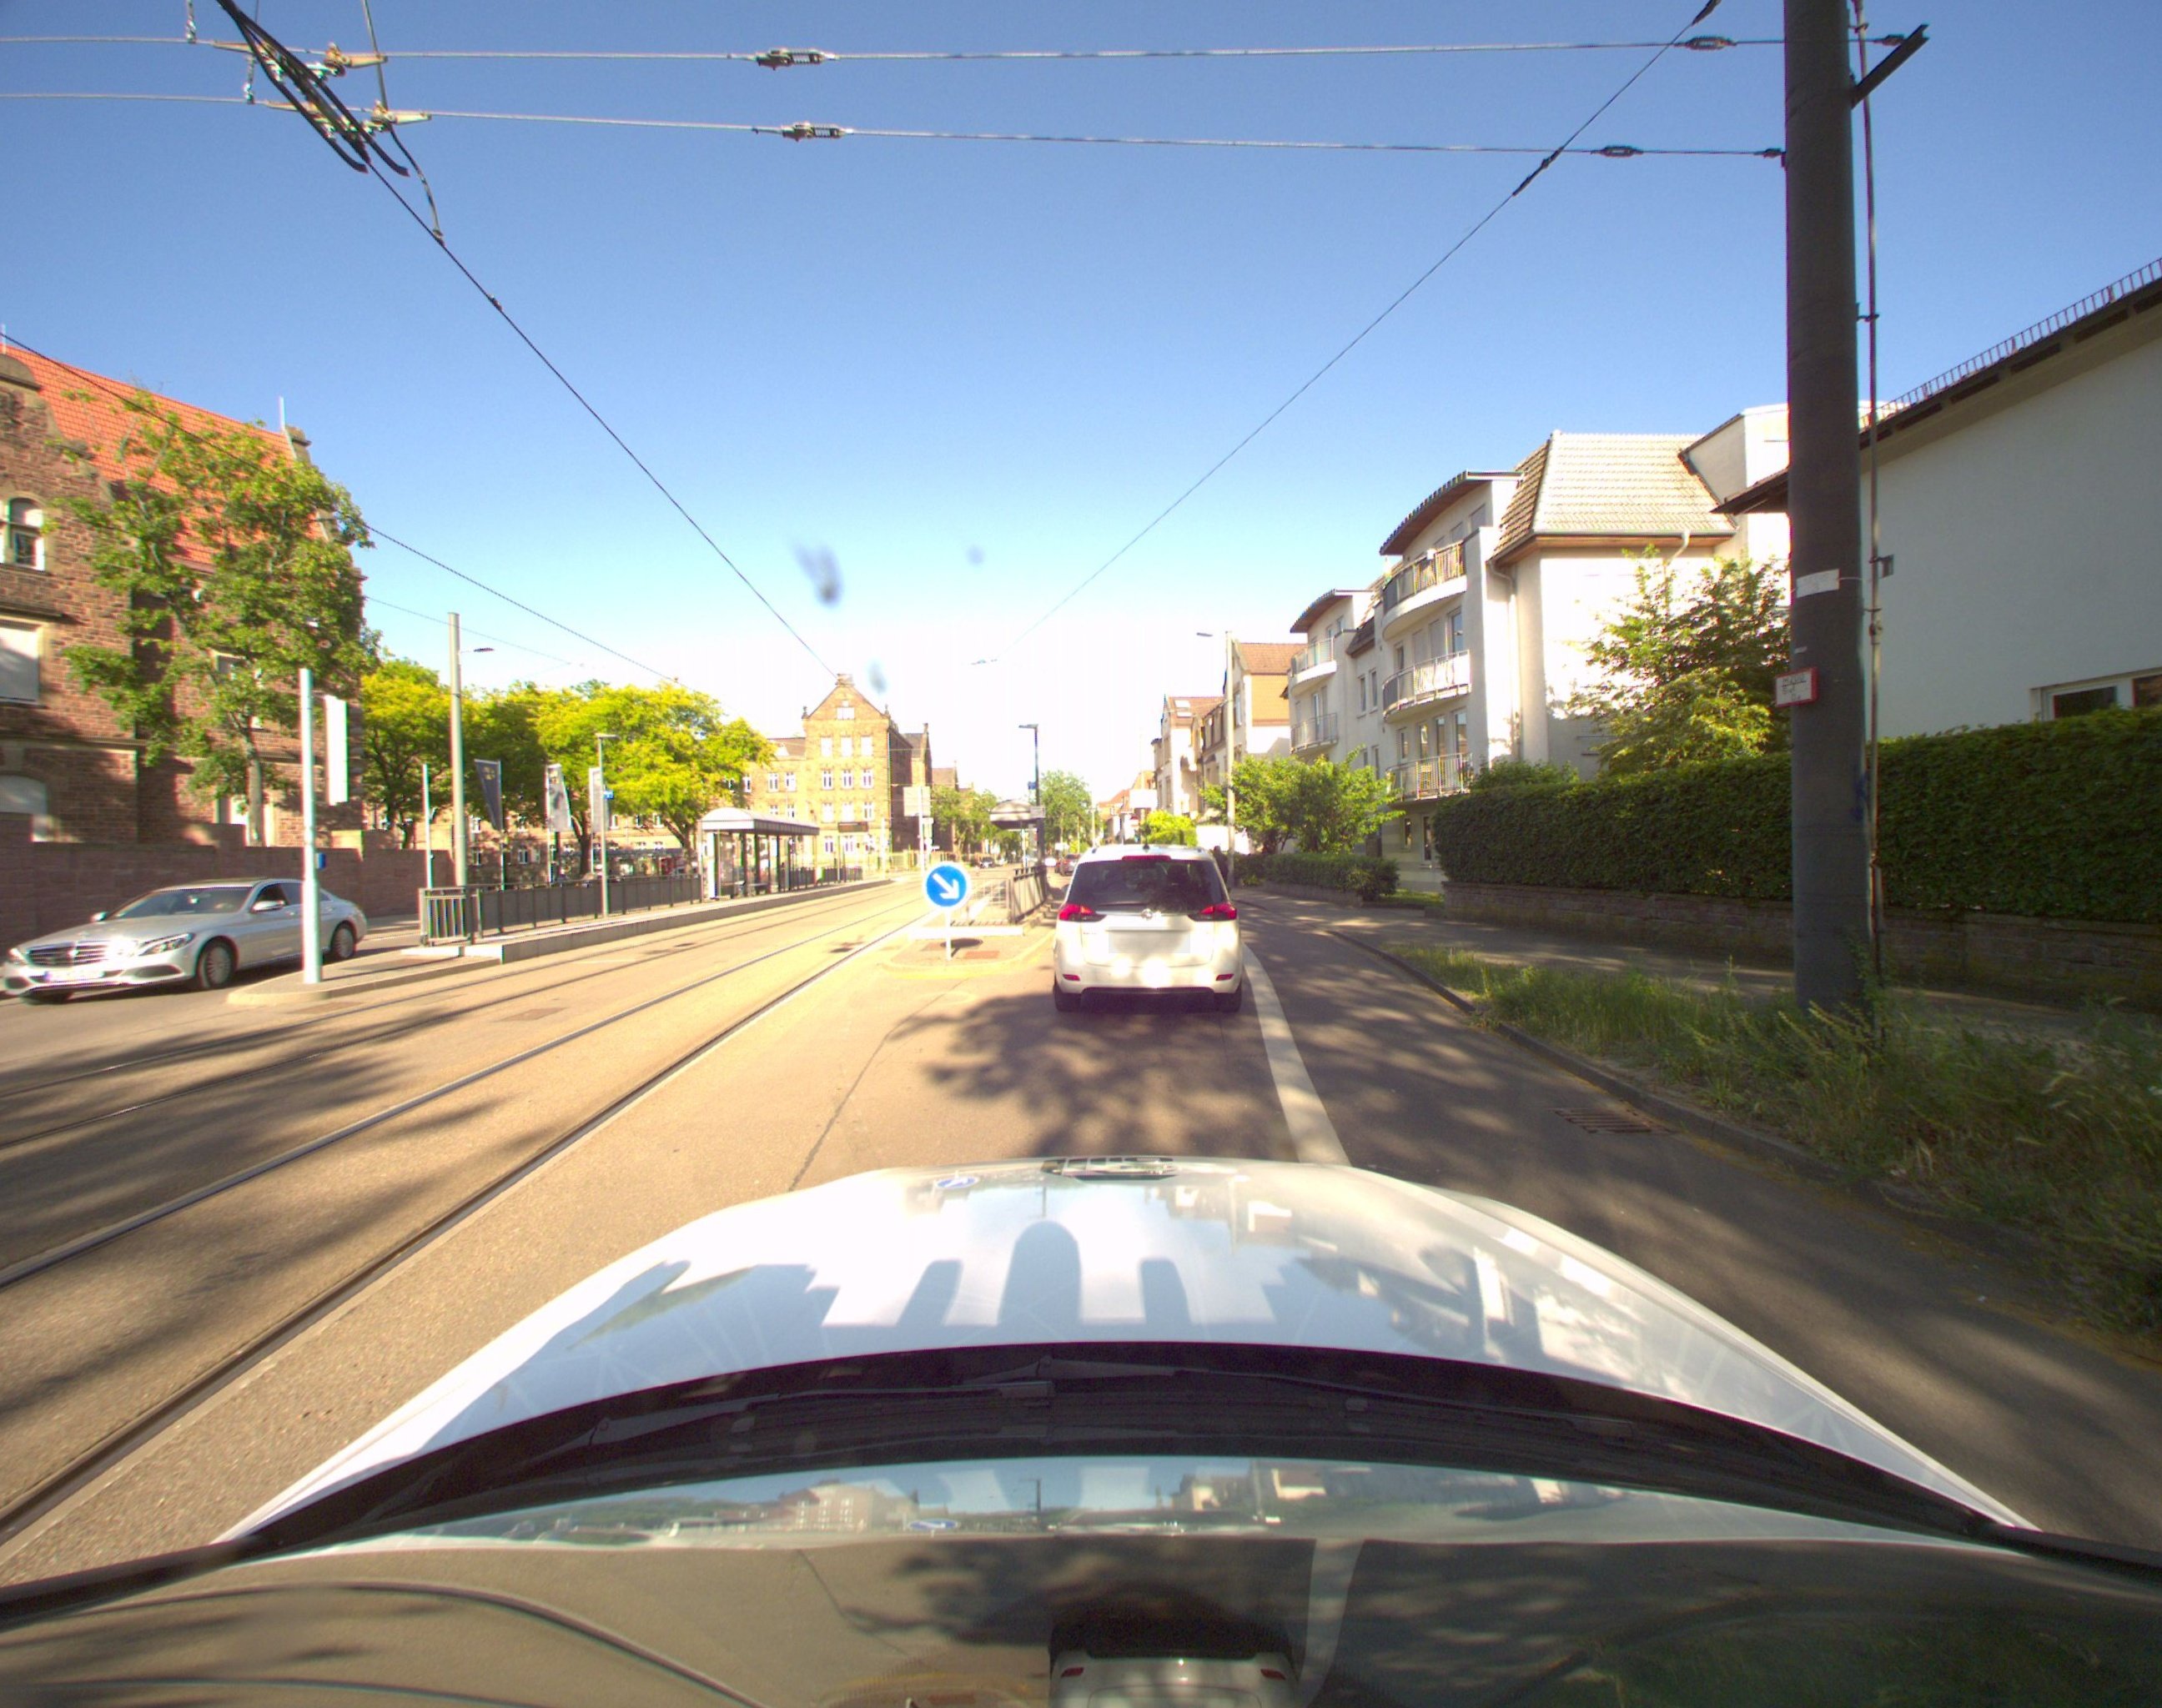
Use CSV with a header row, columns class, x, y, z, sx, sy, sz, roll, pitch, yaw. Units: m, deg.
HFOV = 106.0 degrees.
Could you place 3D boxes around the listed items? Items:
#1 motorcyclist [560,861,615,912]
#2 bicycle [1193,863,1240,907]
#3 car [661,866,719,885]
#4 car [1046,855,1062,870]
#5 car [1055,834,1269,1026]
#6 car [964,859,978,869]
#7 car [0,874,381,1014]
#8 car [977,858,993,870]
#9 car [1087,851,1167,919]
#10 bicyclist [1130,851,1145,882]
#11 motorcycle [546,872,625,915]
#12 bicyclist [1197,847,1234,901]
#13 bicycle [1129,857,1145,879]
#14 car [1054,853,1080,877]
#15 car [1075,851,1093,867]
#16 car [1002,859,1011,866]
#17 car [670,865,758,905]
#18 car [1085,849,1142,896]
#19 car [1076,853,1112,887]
class,x,y,z,sx,sy,sz,roll,pitch,yaw
motorcyclist,-15.487,1.008,25.586,1.123,1.525,1.053,-1,-1,-7
bicycle,3.813,0.853,23.090,0.827,1.154,2.092,-1,-1,-4
car,-33.323,1.818,69.483,4.053,1.522,1.876,-1,-1,-2
car,-3.141,1.000,94.520,1.771,1.692,3.878,-1,-1,-1
car,0.656,0.681,9.125,1.830,1.642,3.915,-1,-1,-2
car,-19.808,1.785,146.186,1.987,1.596,3.998,-1,-1,-1
car,-12.623,1.108,11.857,1.887,1.415,4.599,-2,1,-16
car,-13.661,1.381,116.019,1.902,1.677,4.353,-1,0,-3
car,1.016,0.661,19.505,1.582,1.420,3.898,-2,0,-1
bicyclist,2.983,0.667,43.344,0.683,1.634,1.015,-1,-1,-1
motorcycle,-15.485,1.198,25.547,1.129,1.243,2.567,-1,-1,-7
bicyclist,3.804,0.557,23.094,0.819,1.501,0.933,-1,-1,-4
bicycle,2.985,0.748,43.289,0.683,1.157,1.619,-1,-1,-1
car,-0.972,0.793,58.388,1.771,1.632,3.879,-1,-1,-1
car,0.310,0.521,88.138,1.771,1.632,3.878,-1,-1,-1
car,-18.814,2.183,205.735,1.903,1.677,3.994,-1,0,-4
car,-15.666,1.359,34.999,1.850,1.403,3.981,-7,-3,-1
car,1.135,0.672,30.530,1.772,1.632,3.876,-1,-1,-3
car,0.680,0.800,42.277,1.770,1.632,3.880,-1,-1,0
